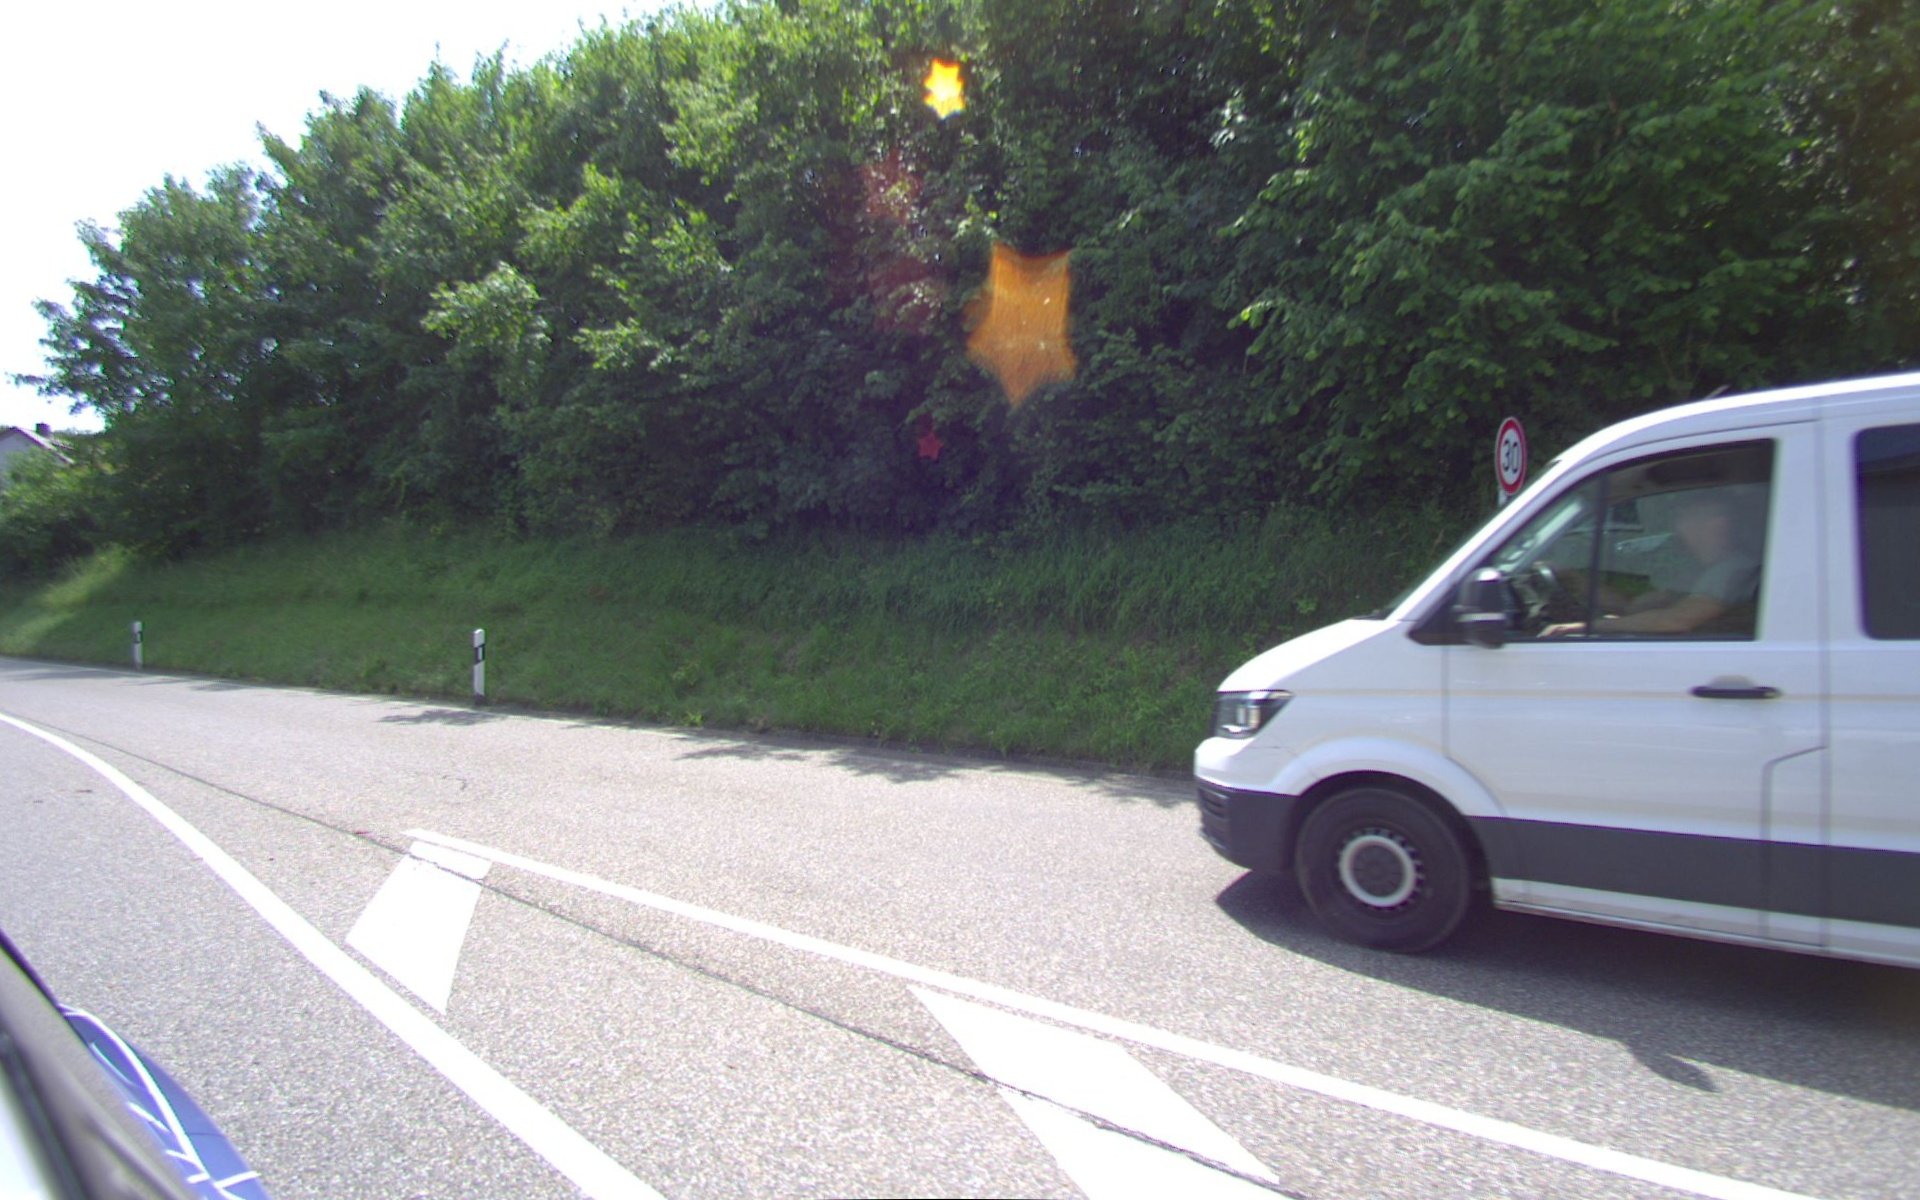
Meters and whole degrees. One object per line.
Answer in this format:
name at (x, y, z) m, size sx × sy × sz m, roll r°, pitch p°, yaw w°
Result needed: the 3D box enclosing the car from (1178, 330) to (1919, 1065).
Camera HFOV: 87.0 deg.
car at (4.005, 0.320, 3.755) m, size 5.932 × 2.308 × 2.068 m, roll 0°, pitch -1°, yaw 35°
